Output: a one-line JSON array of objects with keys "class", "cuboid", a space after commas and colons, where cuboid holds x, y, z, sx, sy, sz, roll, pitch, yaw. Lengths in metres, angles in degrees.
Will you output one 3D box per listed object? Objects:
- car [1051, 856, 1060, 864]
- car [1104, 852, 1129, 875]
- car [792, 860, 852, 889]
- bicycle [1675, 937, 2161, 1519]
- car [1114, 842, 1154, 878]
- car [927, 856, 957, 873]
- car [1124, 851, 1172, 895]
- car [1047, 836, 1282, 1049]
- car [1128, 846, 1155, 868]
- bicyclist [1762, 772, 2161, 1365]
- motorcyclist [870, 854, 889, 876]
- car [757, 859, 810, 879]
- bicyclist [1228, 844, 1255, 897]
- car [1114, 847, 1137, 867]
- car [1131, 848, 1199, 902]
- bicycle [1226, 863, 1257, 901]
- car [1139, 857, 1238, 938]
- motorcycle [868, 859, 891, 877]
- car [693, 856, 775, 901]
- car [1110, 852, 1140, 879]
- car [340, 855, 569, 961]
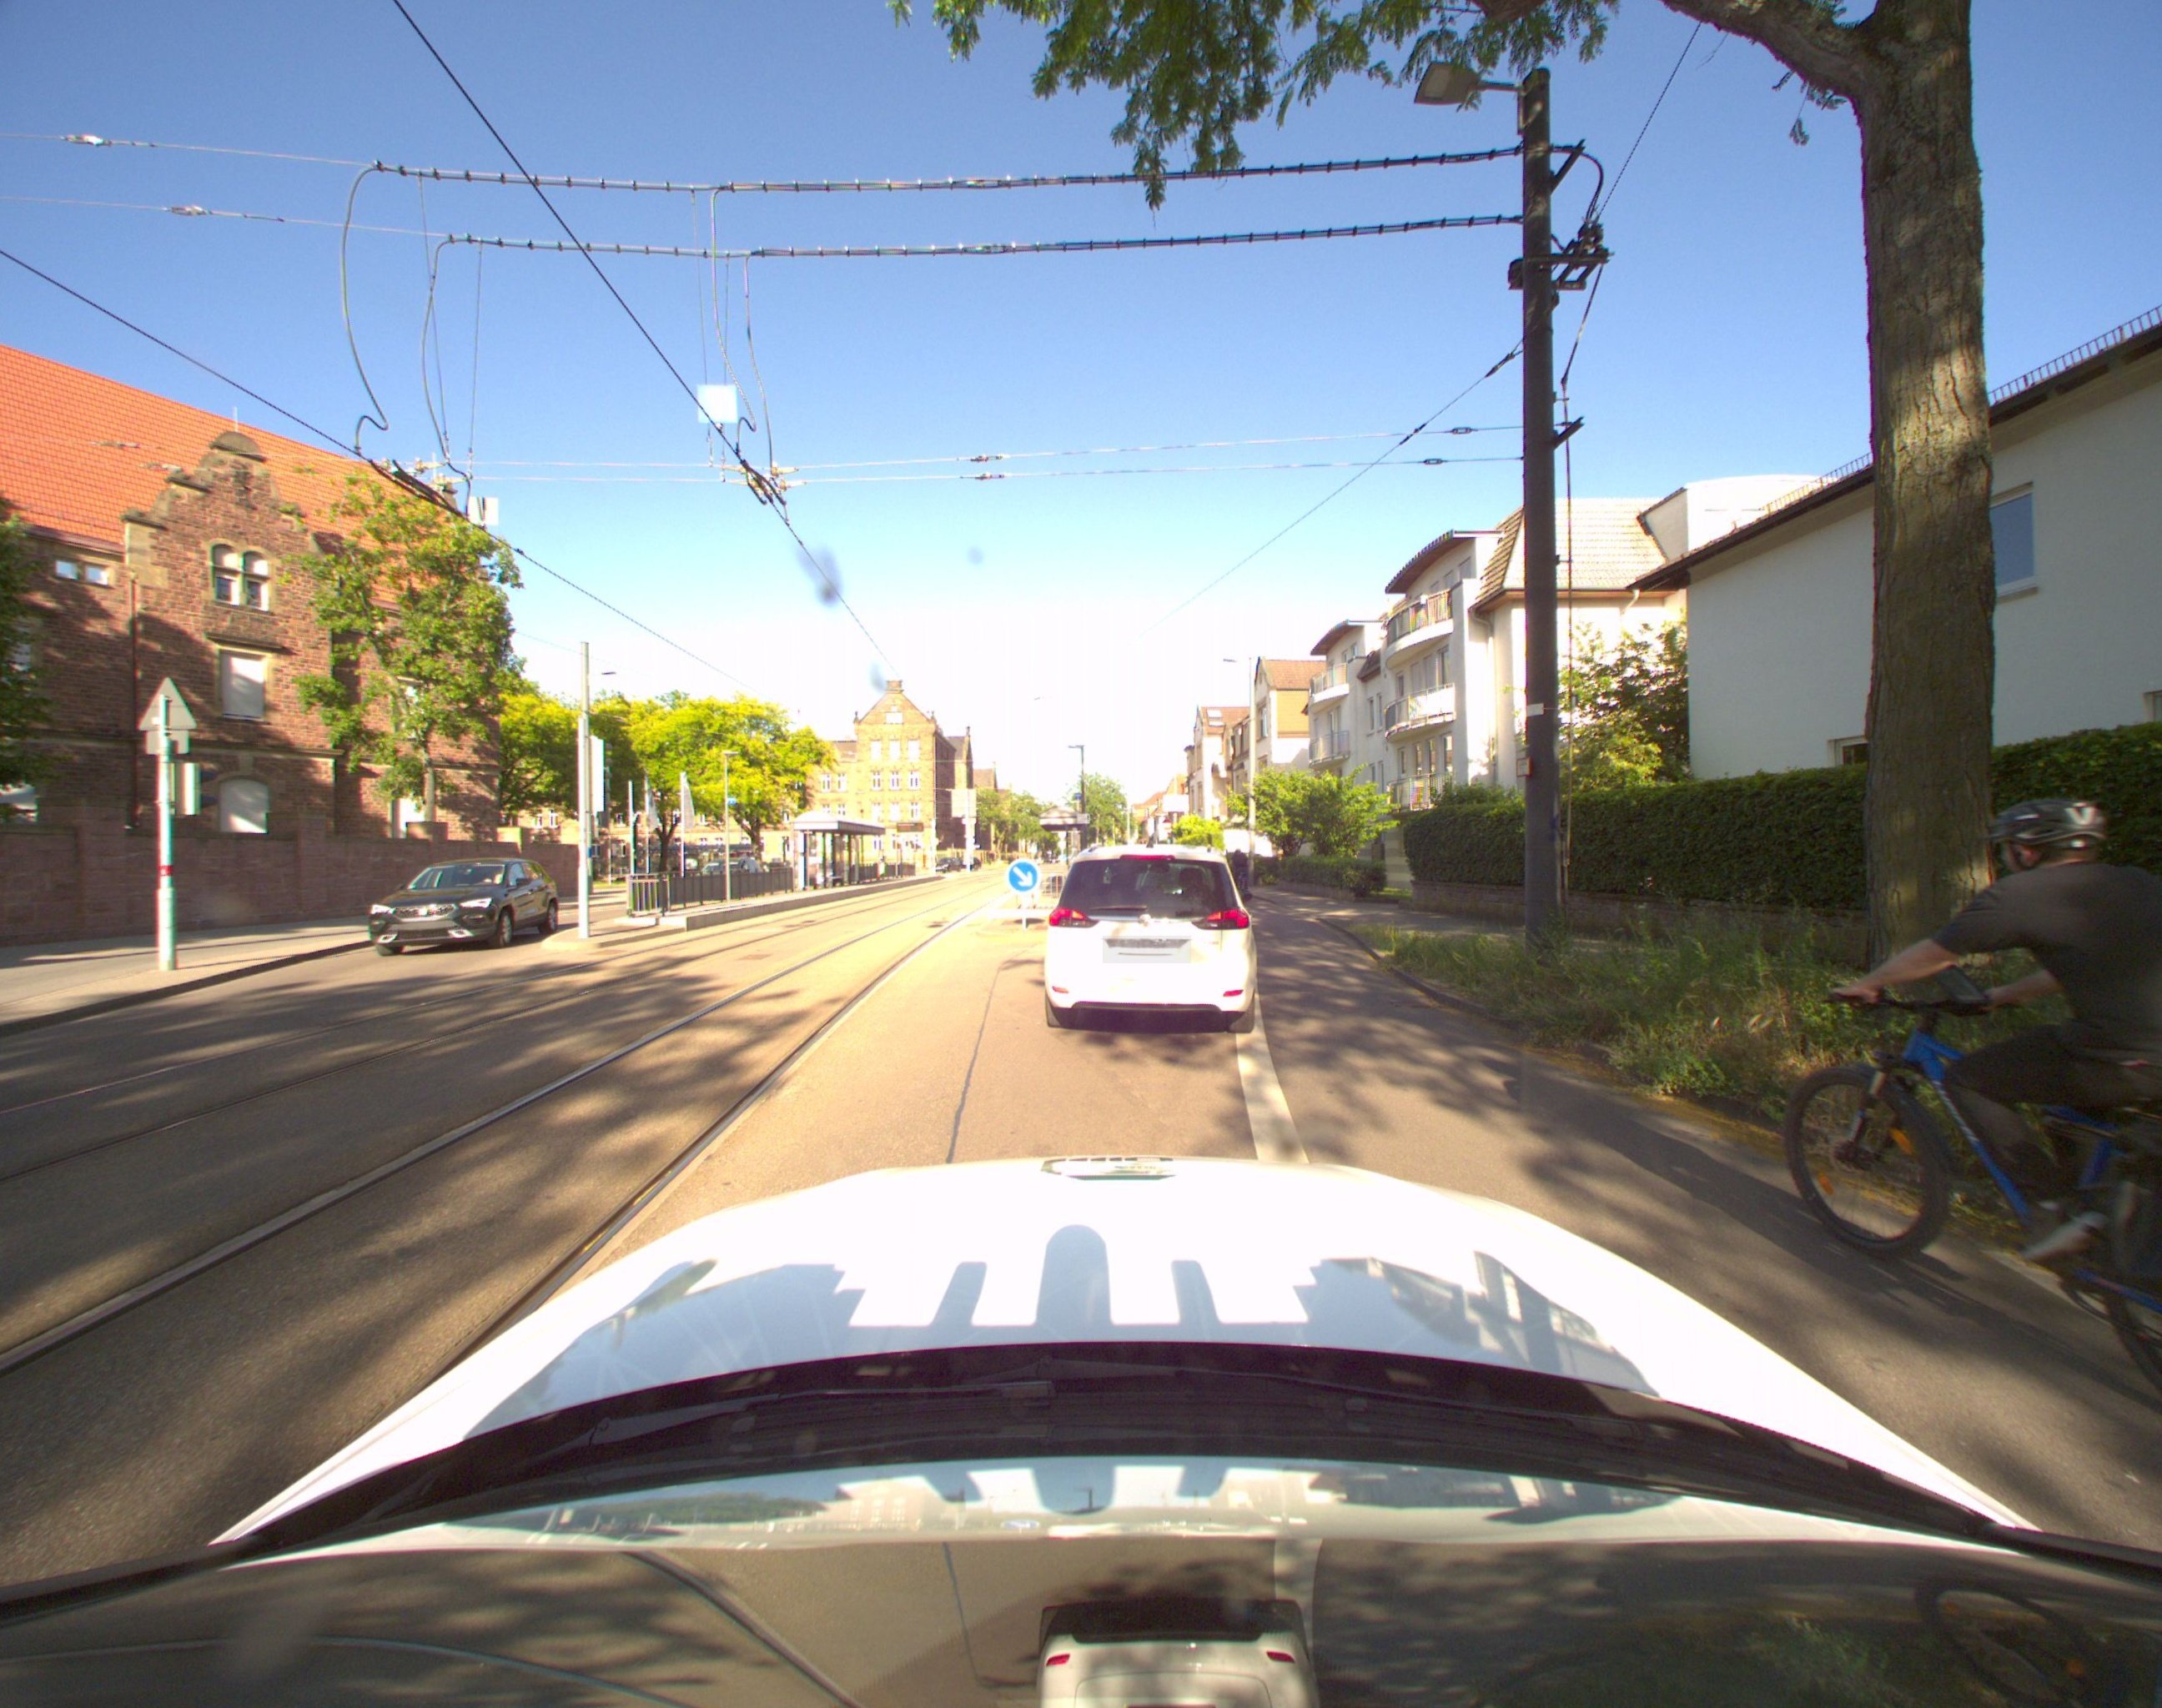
[{"class": "car", "cuboid": [-5.722, 1.259, 180.239, 1.901, 1.677, 4.356, -1, 0, -1]}, {"class": "car", "cuboid": [2.634, 0.703, 61.492, 1.769, 1.692, 3.881, 0, -1, 1]}, {"class": "car", "cuboid": [-14.011, 1.095, 44.326, 1.878, 1.415, 4.622, -1, 0, -1]}, {"class": "bicycle", "cuboid": [2.926, 0.939, 2.500, 0.825, 1.154, 2.097, 1, 0, 5]}, {"class": "car", "cuboid": [2.483, 0.280, 39.191, 1.769, 1.632, 3.882, 0, -1, 1]}, {"class": "car", "cuboid": [-12.890, 0.971, 75.529, 1.986, 1.546, 4.001, 0, -1, 2]}, {"class": "car", "cuboid": [2.628, 0.741, 32.520, 1.768, 1.632, 3.883, 0, -1, 3]}, {"class": "car", "cuboid": [0.658, 0.702, 8.317, 1.829, 1.642, 3.918, 0, -1, 0]}, {"class": "car", "cuboid": [4.528, 0.217, 61.463, 1.769, 1.632, 3.881, 0, -1, 1]}, {"class": "bicyclist", "cuboid": [2.911, 0.543, 2.527, 0.817, 1.501, 0.935, 0, -1, 4]}, {"class": "motorcyclist", "cuboid": [-14.271, 0.774, 57.800, 1.122, 1.525, 1.053, 0, -1, -5]}, {"class": "car", "cuboid": [-25.387, 1.312, 69.515, 3.844, 1.660, 1.751, 0, -1, 1]}, {"class": "bicyclist", "cuboid": [5.021, 0.514, 25.501, 0.683, 1.634, 1.016, 0, -1, 2]}, {"class": "car", "cuboid": [3.720, 0.280, 68.624, 1.769, 1.632, 3.881, 0, -1, 1]}, {"class": "car", "cuboid": [2.639, 0.643, 26.375, 1.770, 1.632, 3.879, 0, -1, -1]}, {"class": "bicycle", "cuboid": [5.025, 0.866, 25.578, 0.683, 1.157, 1.620, 0, -1, 2]}, {"class": "car", "cuboid": [2.084, 0.791, 16.758, 1.581, 1.420, 3.901, -1, 0, 1]}, {"class": "motorcycle", "cuboid": [-14.264, 0.985, 57.769, 1.128, 1.243, 2.569, 0, -1, -4]}, {"class": "car", "cuboid": [-14.012, 0.931, 33.119, 1.793, 1.637, 4.112, -2, 0, -5]}, {"class": "car", "cuboid": [2.657, 0.694, 50.159, 1.769, 1.632, 3.882, 0, -1, 2]}, {"class": "car", "cuboid": [-11.283, 0.868, 15.075, 1.925, 1.616, 4.095, -2, 0, -16]}]
